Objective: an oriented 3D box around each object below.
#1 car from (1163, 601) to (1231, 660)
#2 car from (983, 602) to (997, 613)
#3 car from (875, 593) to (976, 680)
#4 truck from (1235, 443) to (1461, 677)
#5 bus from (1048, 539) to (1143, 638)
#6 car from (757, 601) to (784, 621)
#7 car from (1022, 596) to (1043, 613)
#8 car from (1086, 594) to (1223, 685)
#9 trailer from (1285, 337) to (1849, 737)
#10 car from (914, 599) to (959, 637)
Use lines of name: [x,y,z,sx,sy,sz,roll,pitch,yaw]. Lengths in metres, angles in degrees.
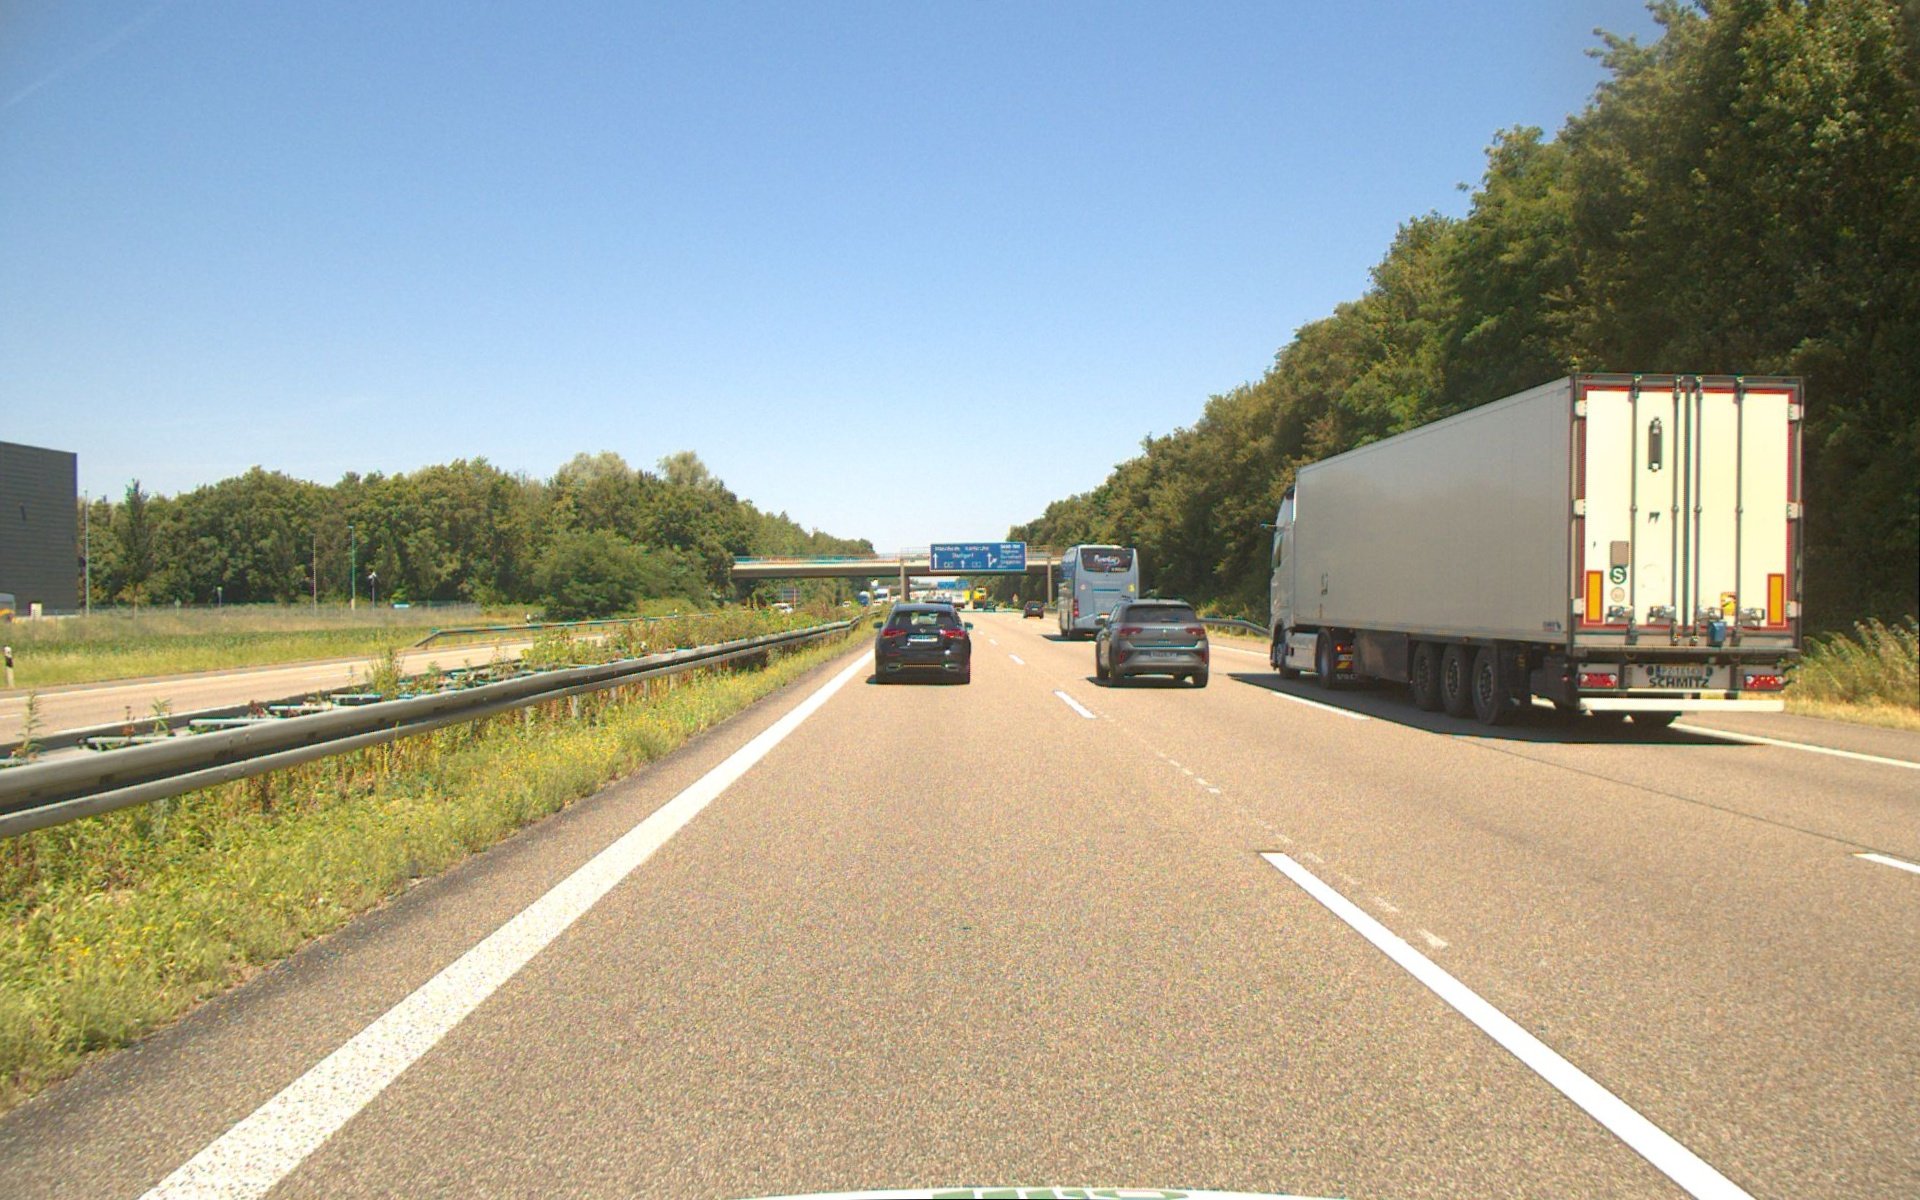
car: [9.044,1.115,63.367,1.861,2.157,4.240,1,0,-2]
car: [4.588,1.107,252.348,2.038,1.559,4.241,1,0,0]
car: [-0.663,0.637,31.233,1.763,1.528,4.240,1,0,-2]
truck: [7.676,-0.741,33.589,2.986,4.289,6.046,1,0,-2]
bus: [5.370,-0.418,67.681,2.745,3.659,12.472,0,0,-1]
car: [-14.432,0.808,126.347,1.600,1.452,4.659,-2,0,-2]
car: [6.385,0.367,145.887,1.753,1.487,3.949,1,0,0]
car: [3.539,0.672,30.966,1.861,1.559,4.758,1,0,-2]
trailer: [7.937,-0.695,24.800,2.978,4.298,13.830,1,0,-2]
car: [-1.036,0.745,70.416,1.861,1.559,4.240,1,0,-2]
